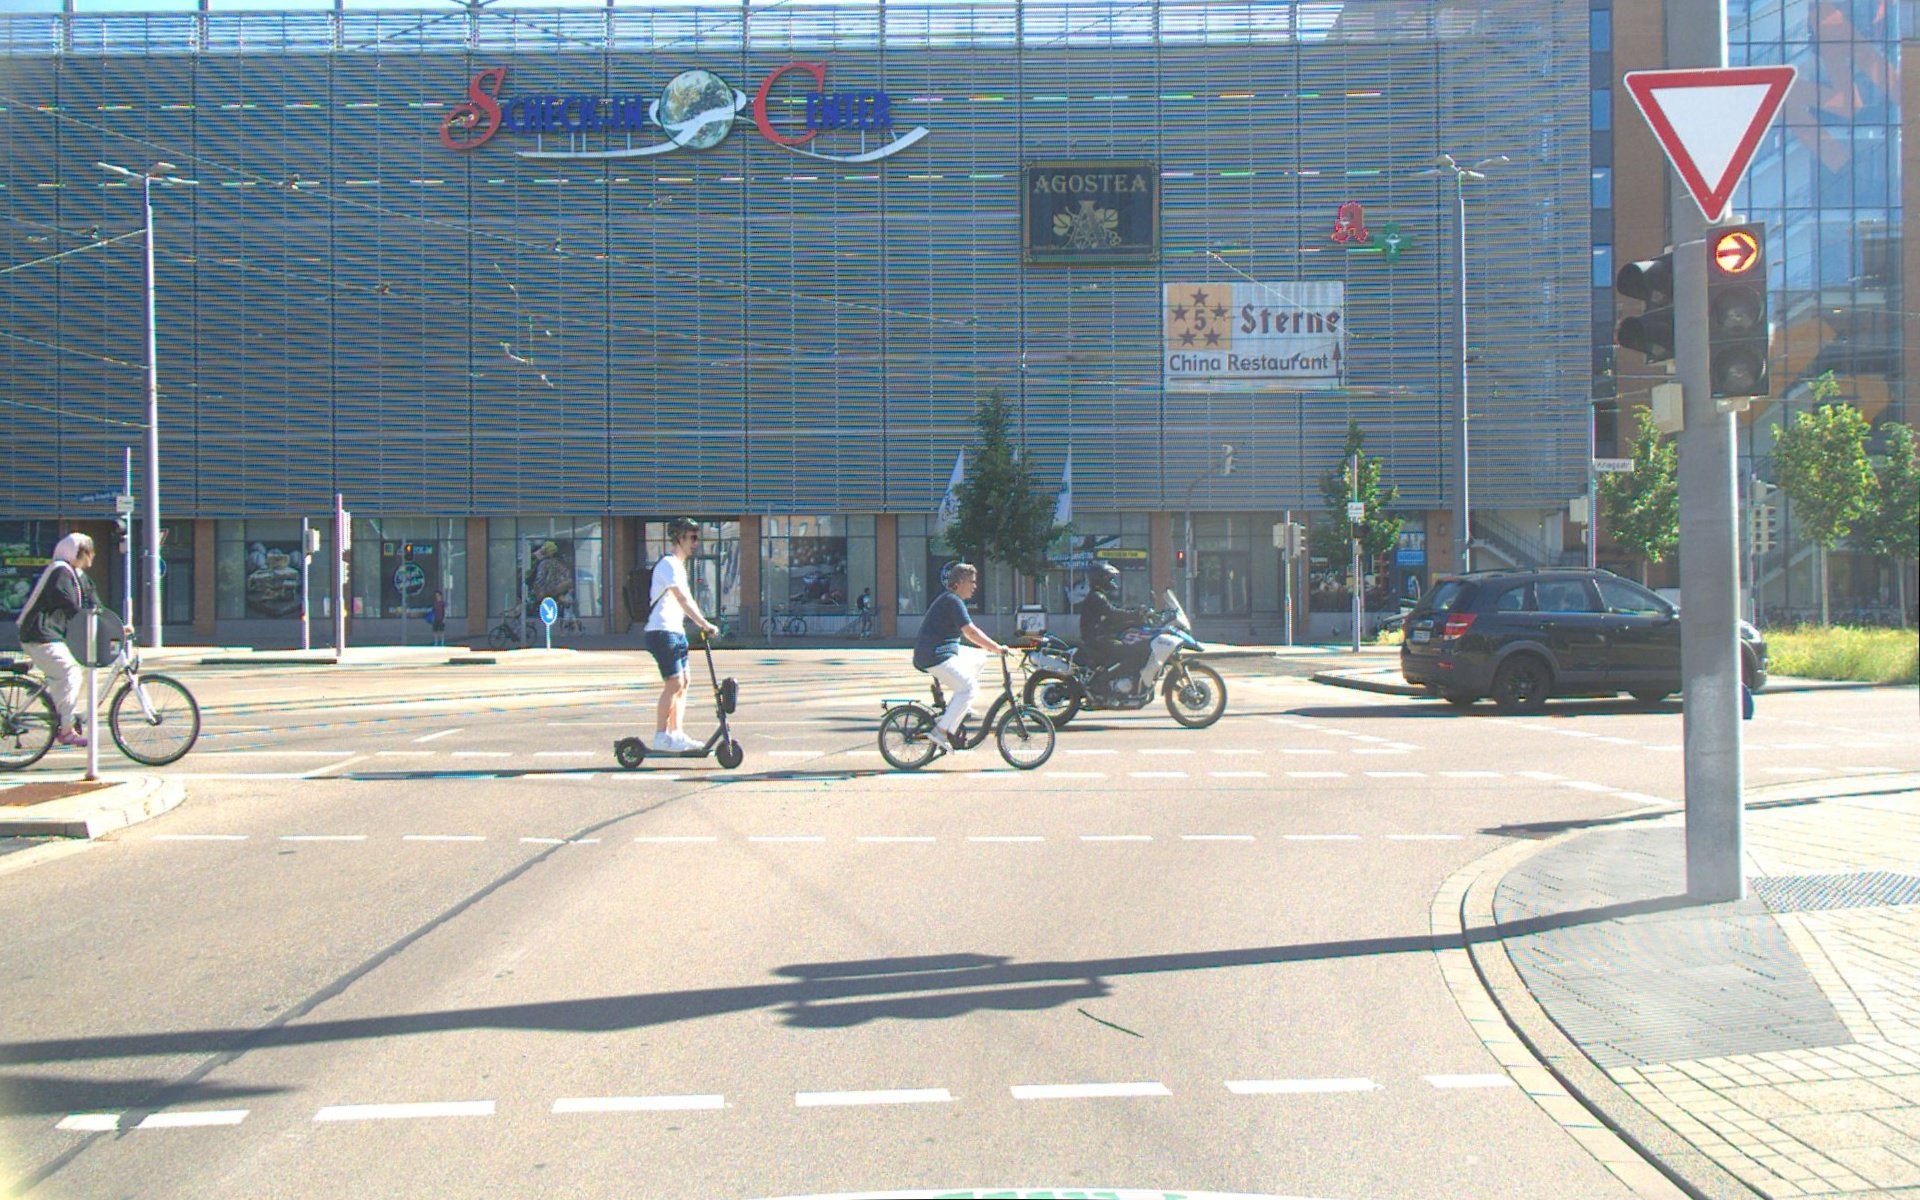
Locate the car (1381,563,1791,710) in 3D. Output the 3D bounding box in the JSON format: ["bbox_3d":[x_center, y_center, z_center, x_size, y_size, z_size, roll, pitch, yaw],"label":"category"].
[{"bbox_3d":[7.830,0.412,20.866,4.549,1.748,1.835,0,1,-9],"label":"car"}]

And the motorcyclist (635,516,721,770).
[{"bbox_3d":[-2.308,0.347,13.587,0.615,2.049,0.497,0,0,-1],"label":"motorcyclist"}]

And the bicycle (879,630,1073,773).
[{"bbox_3d":[0.116,0.821,13.585,1.544,1.126,0.734,0,0,-3],"label":"bicycle"}]

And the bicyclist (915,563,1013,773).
[{"bbox_3d":[0.021,0.546,13.641,0.767,1.677,0.690,0,0,-3],"label":"bicyclist"}]

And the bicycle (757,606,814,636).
[{"bbox_3d":[-6.372,0.775,60.602,1.985,1.078,1.144,-1,0,-1],"label":"bicycle"}]

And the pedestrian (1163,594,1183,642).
[{"bbox_3d":[7.024,0.579,54.548,0.577,1.561,0.658,0,0,-1],"label":"pedestrian"}]

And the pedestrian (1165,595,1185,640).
[{"bbox_3d":[7.179,0.581,55.269,0.577,1.488,0.658,0,0,-1],"label":"pedestrian"}]

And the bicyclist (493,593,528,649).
[{"bbox_3d":[-14.823,0.696,54.490,0.838,1.834,0.803,0,0,-42],"label":"bicyclist"}]

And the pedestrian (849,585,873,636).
[{"bbox_3d":[-3.549,0.371,59.478,0.831,1.794,0.620,0,0,-2],"label":"pedestrian"}]

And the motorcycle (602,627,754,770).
[{"bbox_3d":[-2.301,0.797,13.564,1.162,1.141,0.483,0,0,-1],"label":"motorcycle"}]

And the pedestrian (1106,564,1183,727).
[{"bbox_3d":[1.957,0.478,17.649,0.729,1.706,0.664,0,0,-1],"label":"pedestrian"}]

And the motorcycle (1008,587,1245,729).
[{"bbox_3d":[1.744,0.603,17.625,2.394,1.443,0.914,1,0,-3],"label":"motorcycle"}]

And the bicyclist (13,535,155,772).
[{"bbox_3d":[-6.946,0.412,13.151,0.748,1.820,0.762,0,0,-4],"label":"bicyclist"}]

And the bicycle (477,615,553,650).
[{"bbox_3d":[-14.687,1.063,54.645,2.225,1.089,1.030,0,0,-42],"label":"bicycle"}]

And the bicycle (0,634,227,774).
[{"bbox_3d":[-6.927,0.812,13.128,1.887,1.054,0.694,0,0,-4],"label":"bicycle"}]

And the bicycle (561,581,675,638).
[{"bbox_3d":[-12.544,0.353,60.829,3.905,2.049,1.330,0,0,-1],"label":"bicycle"}]

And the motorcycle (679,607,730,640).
[{"bbox_3d":[-8.637,0.785,55.850,1.616,1.078,0.497,-1,0,9],"label":"motorcycle"}]

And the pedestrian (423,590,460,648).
[{"bbox_3d":[-17.171,0.610,54.772,0.890,1.901,0.816,-1,0,42],"label":"pedestrian"}]
